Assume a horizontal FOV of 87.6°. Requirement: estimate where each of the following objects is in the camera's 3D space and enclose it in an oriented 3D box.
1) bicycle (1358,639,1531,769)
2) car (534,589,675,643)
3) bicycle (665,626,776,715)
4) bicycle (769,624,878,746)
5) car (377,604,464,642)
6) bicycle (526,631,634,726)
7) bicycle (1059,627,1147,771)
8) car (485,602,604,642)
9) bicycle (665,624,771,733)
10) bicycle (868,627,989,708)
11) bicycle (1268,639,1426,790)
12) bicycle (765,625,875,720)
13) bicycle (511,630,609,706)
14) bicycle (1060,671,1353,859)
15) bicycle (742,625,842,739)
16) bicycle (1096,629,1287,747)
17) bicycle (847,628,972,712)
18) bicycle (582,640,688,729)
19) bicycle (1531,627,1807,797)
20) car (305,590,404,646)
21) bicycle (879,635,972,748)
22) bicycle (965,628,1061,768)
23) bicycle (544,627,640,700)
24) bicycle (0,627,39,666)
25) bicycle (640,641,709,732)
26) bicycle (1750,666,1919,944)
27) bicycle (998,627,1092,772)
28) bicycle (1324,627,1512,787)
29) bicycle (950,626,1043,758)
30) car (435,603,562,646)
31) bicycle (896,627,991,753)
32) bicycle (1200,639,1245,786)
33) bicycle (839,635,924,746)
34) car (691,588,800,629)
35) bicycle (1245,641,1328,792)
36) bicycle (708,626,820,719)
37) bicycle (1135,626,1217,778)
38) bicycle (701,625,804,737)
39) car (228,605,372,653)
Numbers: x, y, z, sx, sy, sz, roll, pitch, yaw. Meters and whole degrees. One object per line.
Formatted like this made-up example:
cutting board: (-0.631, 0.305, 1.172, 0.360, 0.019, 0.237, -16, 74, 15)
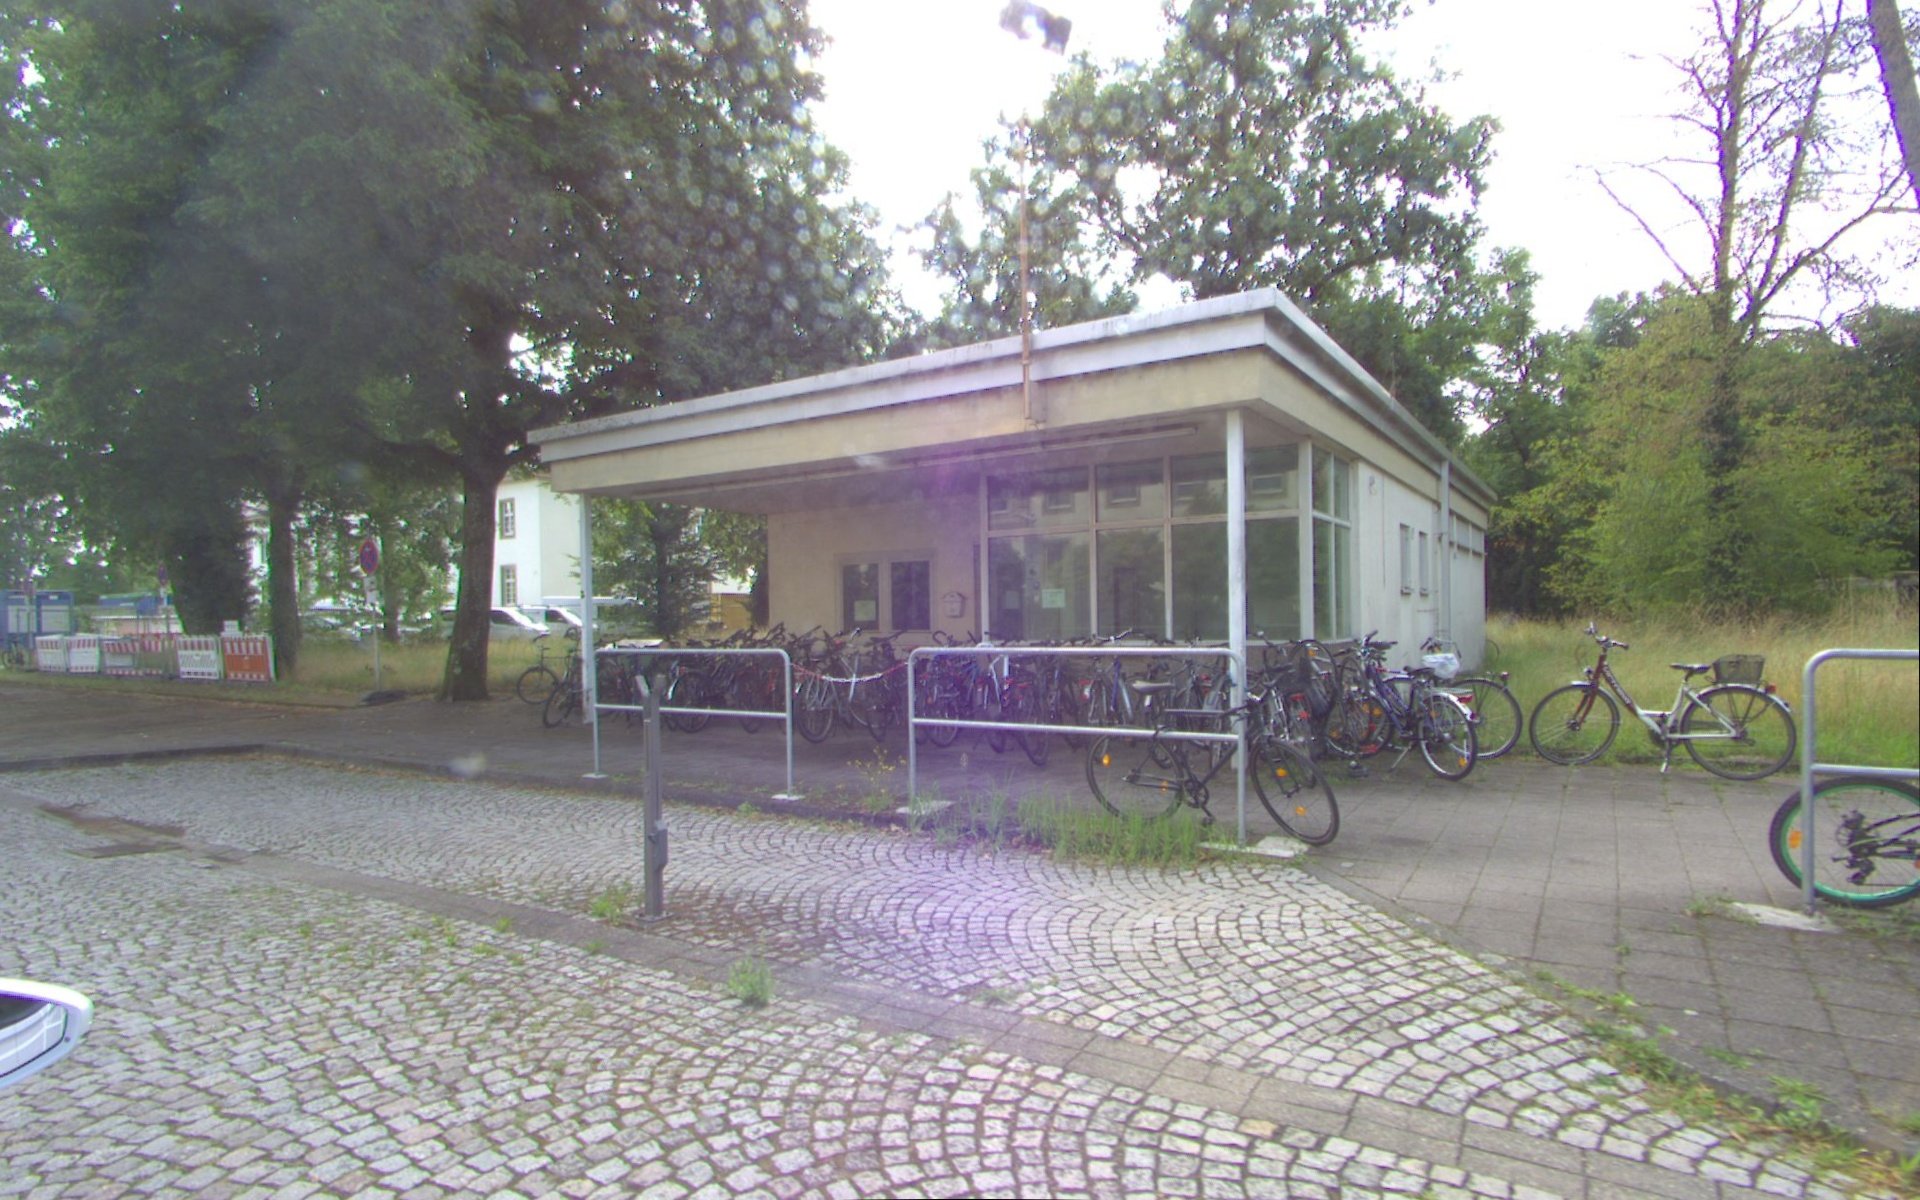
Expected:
bicycle: (4.217, 0.867, 8.793, 0.400, 1.023, 1.348, -1, 0, -34)
car: (-17.623, 0.839, 49.819, 6.297, 2.611, 2.001, 0, -1, 3)
bicycle: (-3.575, 1.026, 15.098, 0.599, 1.181, 1.738, -1, 1, 28)
bicycle: (-1.499, 0.911, 11.307, 0.490, 1.206, 1.631, -1, 1, 20)
car: (-27.645, 1.216, 51.280, 4.809, 1.848, 1.989, -2, -2, 35)
bicycle: (-5.091, 1.026, 13.517, 0.332, 1.123, 1.677, -1, 1, 19)
bicycle: (1.361, 0.866, 9.338, 0.350, 1.156, 1.612, -1, 1, 25)
car: (-19.513, 1.056, 47.111, 4.780, 1.848, 2.001, 0, -2, 6)
bicycle: (-2.998, 0.945, 12.571, 0.465, 1.206, 1.631, -1, 1, 19)
bicycle: (-0.454, 0.946, 14.260, 1.652, 1.090, 0.479, -1, 1, 22)
bicycle: (3.089, 0.864, 8.173, 0.446, 1.059, 1.750, -1, -1, -6)
bicycle: (-1.938, 0.983, 14.095, 0.599, 1.181, 1.738, -1, 1, 28)
bicycle: (-6.426, 1.069, 16.074, 1.611, 1.132, 0.595, -1, 2, 32)
bicycle: (1.460, 0.936, 6.070, 1.632, 0.965, 0.533, -2, 0, 33)
bicycle: (-1.982, 0.940, 12.030, 0.412, 1.206, 1.631, -1, 1, 20)
bicycle: (2.299, 0.843, 10.053, 1.806, 1.090, 0.489, -1, 2, 32)
bicycle: (-0.699, 0.951, 13.741, 1.652, 1.090, 0.479, -1, 1, 22)
bicycle: (-4.243, 1.077, 13.221, 0.744, 0.989, 1.745, -1, 1, 3)
bicycle: (5.365, 0.790, 7.650, 1.660, 1.153, 0.644, -1, 0, 39)
car: (-29.685, 0.929, 49.024, 5.831, 2.588, 1.988, -2, -2, 35)
bicycle: (-0.345, 0.955, 10.927, 0.320, 1.064, 1.590, -1, 1, 25)
bicycle: (0.535, 0.877, 9.550, 0.320, 1.156, 1.612, -1, 1, 25)
bicycle: (-6.118, 1.035, 16.620, 1.611, 1.132, 0.595, -1, 2, 32)
bicycle: (-30.062, 1.468, 31.920, 1.879, 1.185, 0.640, -1, 0, 35)
bicycle: (-3.607, 1.062, 12.739, 0.316, 0.989, 1.634, -1, 1, 3)
bicycle: (4.305, 0.845, 4.153, 1.543, 1.076, 0.688, -1, 0, 33)
bicycle: (0.825, 0.867, 9.297, 0.320, 1.156, 1.612, -1, 1, 25)
bicycle: (3.671, 0.805, 8.192, 0.465, 1.146, 1.739, -1, -1, -11)
bicycle: (0.396, 0.881, 10.123, 0.320, 1.156, 1.612, -1, 1, 25)
car: (-20.509, 1.120, 44.610, 4.780, 1.848, 2.001, 0, -2, 6)
bicycle: (-0.140, 0.898, 10.513, 0.320, 1.156, 1.590, -1, 1, 25)
bicycle: (2.118, 0.867, 8.117, 0.282, 1.076, 1.153, -1, -1, 12)
bicycle: (-0.841, 0.962, 11.157, 0.328, 1.064, 1.631, -1, 1, 18)
car: (-11.757, 0.534, 55.414, 2.182, 2.122, 6.129, -1, -2, 33)
bicycle: (2.570, 0.872, 7.969, 0.332, 1.059, 1.406, -1, -1, 6)
bicycle: (-2.795, 0.998, 14.434, 0.599, 1.181, 1.738, -1, 1, 28)
bicycle: (1.948, 0.848, 8.905, 0.350, 1.156, 1.612, -1, 1, 25)
bicycle: (-2.515, 0.952, 12.314, 0.412, 1.206, 1.631, -1, 1, 20)
car: (-28.299, 1.177, 43.070, 1.880, 1.946, 4.847, 1, 0, 33)
